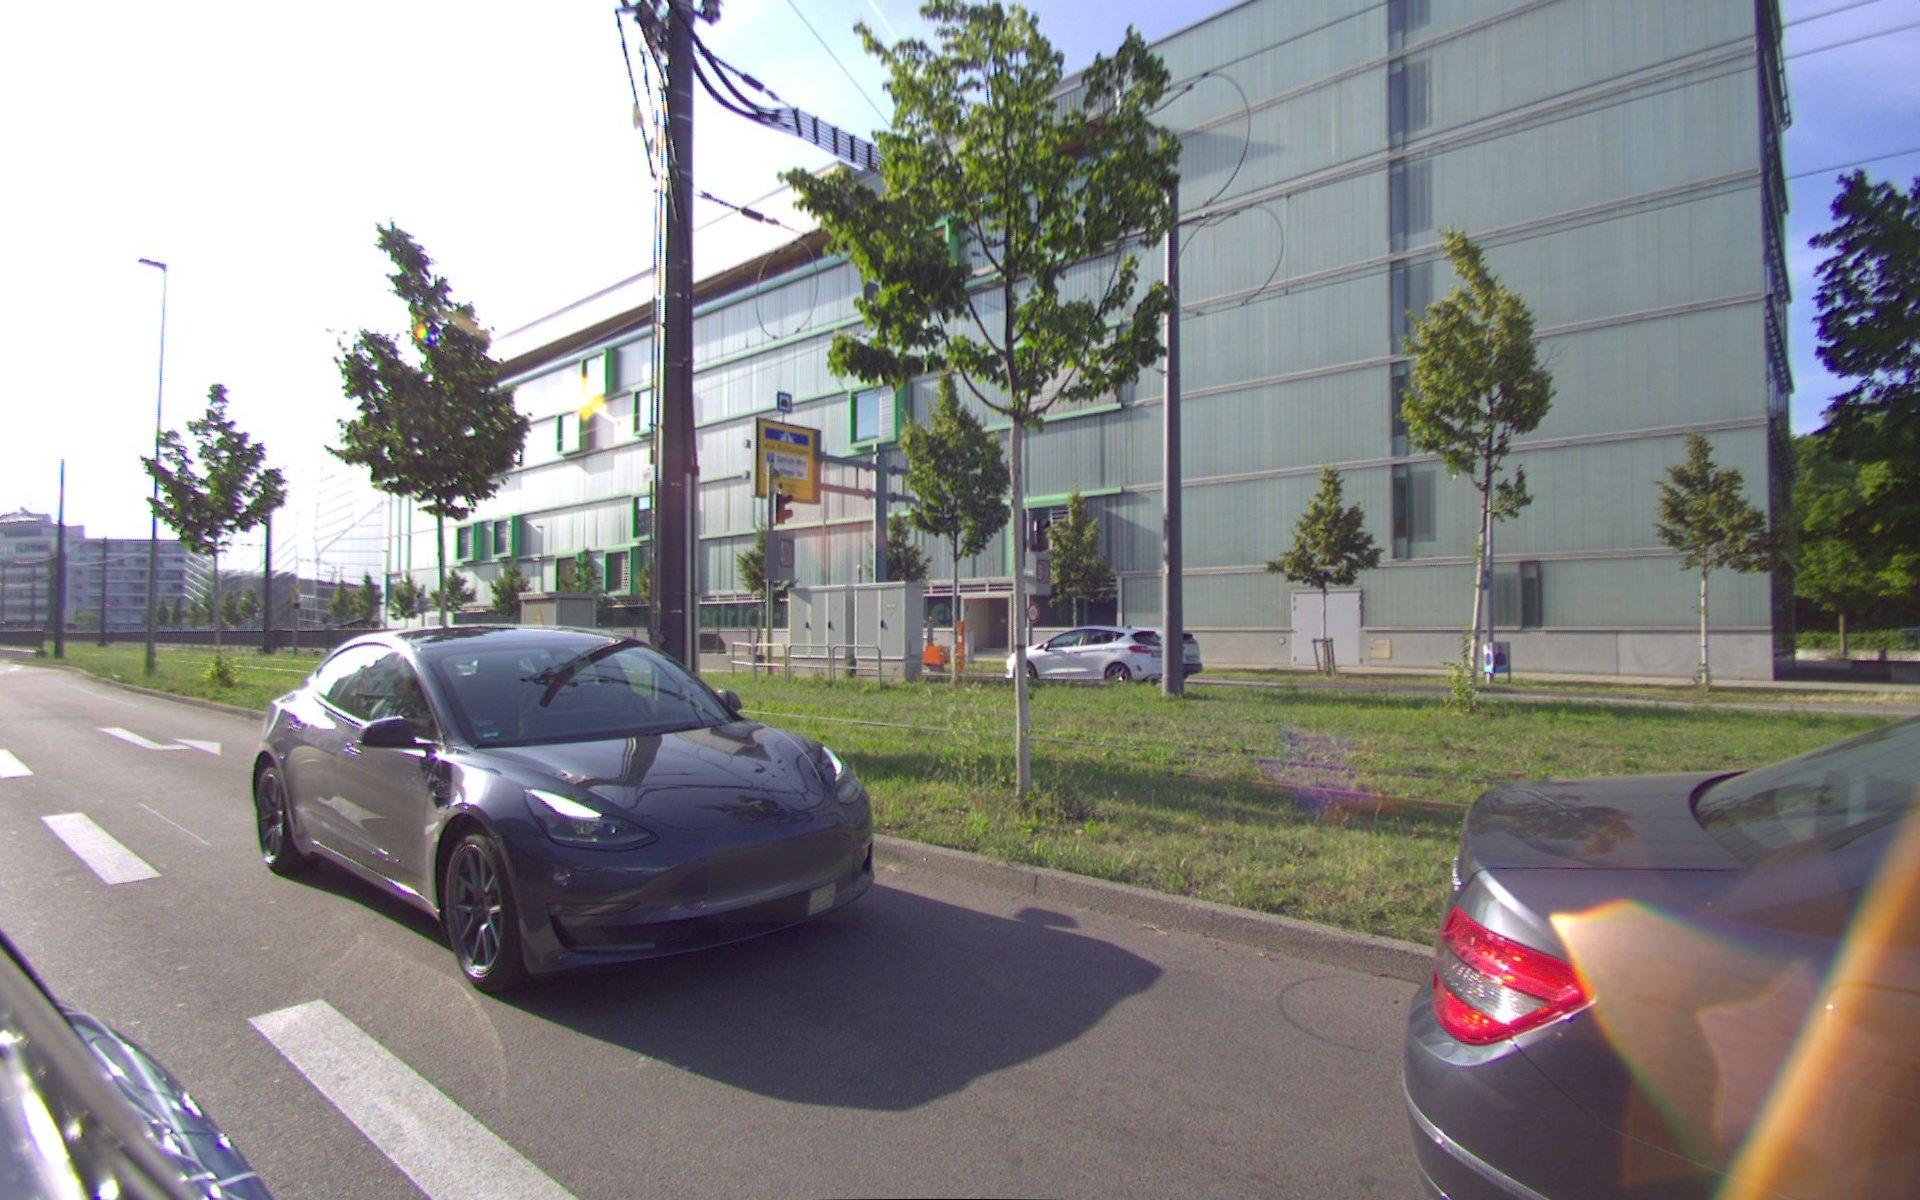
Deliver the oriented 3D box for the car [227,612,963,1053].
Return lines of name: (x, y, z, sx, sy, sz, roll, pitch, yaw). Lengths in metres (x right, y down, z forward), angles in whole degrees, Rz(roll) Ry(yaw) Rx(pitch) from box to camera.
car: (-2.233, 0.826, 5.436, 4.333, 1.396, 1.870, -2, -1, 42)

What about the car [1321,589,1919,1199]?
car: (2.848, 0.683, 0.966, 4.353, 1.490, 1.767, -2, -1, 43)

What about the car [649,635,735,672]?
car: (-12.385, 2.418, 46.611, 4.179, 1.647, 1.888, -2, -3, 43)

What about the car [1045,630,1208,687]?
car: (4.874, 1.697, 30.004, 4.438, 1.539, 1.886, -2, -3, 40)

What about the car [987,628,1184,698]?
car: (2.976, 1.480, 24.347, 4.303, 1.539, 1.975, -2, -3, 36)

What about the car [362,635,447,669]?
car: (-26.683, 2.487, 48.561, 4.909, 1.539, 1.973, -2, -3, 41)

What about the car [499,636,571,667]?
car: (-23.890, 2.871, 56.822, 4.614, 1.700, 1.972, -2, -3, 42)
